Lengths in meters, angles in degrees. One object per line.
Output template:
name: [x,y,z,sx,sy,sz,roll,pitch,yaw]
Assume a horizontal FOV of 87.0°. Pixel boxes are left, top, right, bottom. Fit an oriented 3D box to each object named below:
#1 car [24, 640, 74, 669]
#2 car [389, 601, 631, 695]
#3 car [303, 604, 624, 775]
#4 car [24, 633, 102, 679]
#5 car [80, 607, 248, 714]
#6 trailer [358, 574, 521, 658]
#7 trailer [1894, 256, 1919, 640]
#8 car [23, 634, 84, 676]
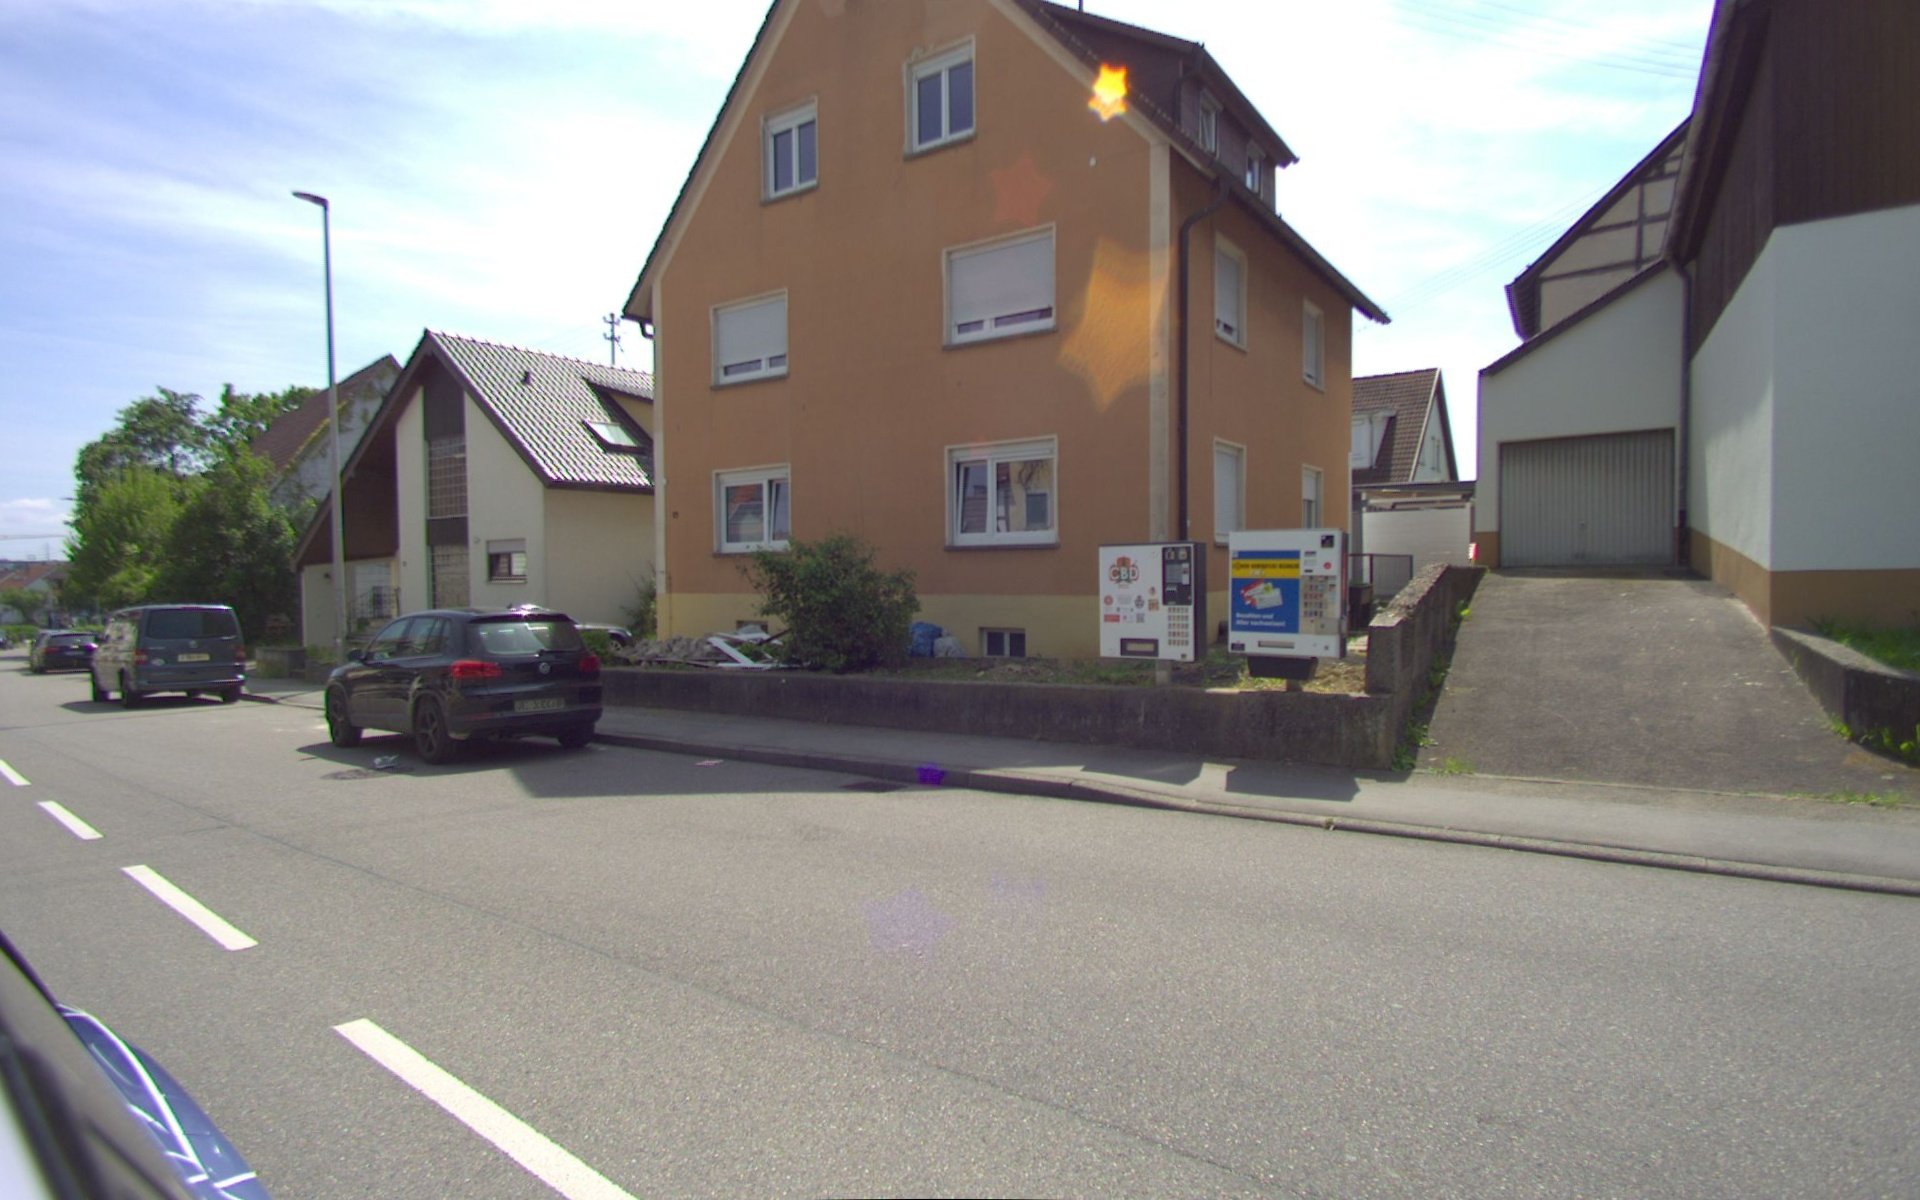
car: [-49.196,2.918,54.743,1.782,1.434,4.936,0,-2,-39]
car: [-9.227,0.921,21.075,1.818,1.415,4.192,-2,3,36]
car: [-5.921,0.930,11.855,4.283,1.648,1.751,-2,-2,39]
car: [-32.087,1.966,36.145,4.778,1.484,1.798,-3,-2,45]
car: [-16.499,1.174,20.890,4.984,1.952,1.871,-2,-2,42]
trailer: [-15.978,0.440,31.200,1.999,2.027,3.795,-2,6,40]
trailer: [9.915,-1.197,6.039,6.165,2.870,1.696,-2,0,38]
car: [-36.433,2.194,40.737,1.733,1.532,4.306,-1,-2,-41]
